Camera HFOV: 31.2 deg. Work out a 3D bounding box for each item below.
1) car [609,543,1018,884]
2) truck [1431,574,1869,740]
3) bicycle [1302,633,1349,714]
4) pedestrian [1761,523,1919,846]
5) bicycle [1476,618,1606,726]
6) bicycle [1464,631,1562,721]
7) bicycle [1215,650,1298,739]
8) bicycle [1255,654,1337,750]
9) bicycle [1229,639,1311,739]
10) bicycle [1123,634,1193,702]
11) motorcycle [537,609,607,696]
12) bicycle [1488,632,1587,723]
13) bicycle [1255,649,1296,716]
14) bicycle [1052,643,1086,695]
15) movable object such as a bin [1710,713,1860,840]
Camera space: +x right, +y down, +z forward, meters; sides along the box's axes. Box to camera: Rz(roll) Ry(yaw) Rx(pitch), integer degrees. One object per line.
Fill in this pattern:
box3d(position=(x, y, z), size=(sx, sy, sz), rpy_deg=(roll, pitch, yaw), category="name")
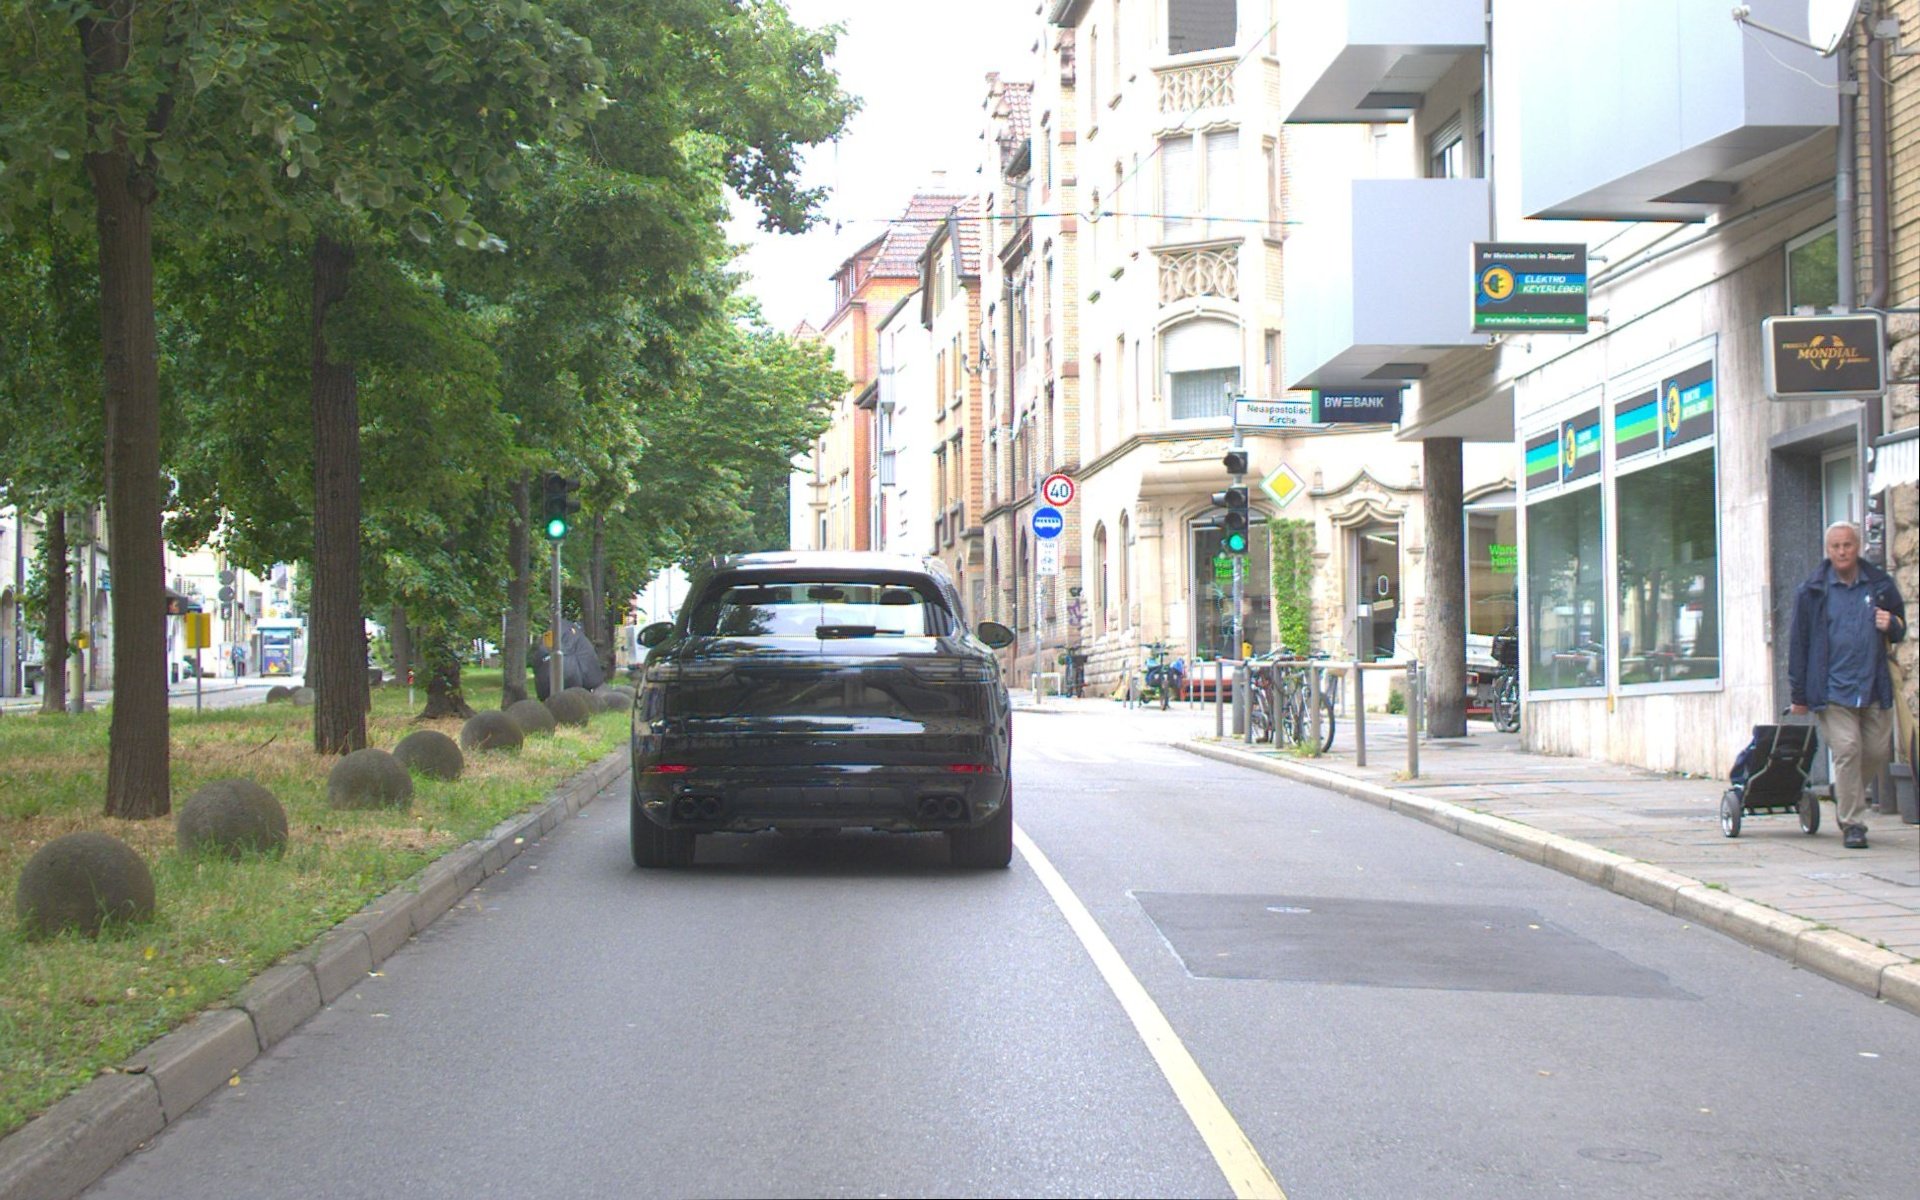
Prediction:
box3d(position=(-0.780, 0.546, 18.936), size=(1.993, 1.660, 4.000), rpy_deg=(1, 0, -2), category="car")
box3d(position=(9.790, 0.812, 48.969), size=(5.557, 2.126, 2.382), rpy_deg=(2, -1, -12), category="truck")
box3d(position=(6.066, 1.209, 57.110), size=(0.446, 1.157, 1.835), rpy_deg=(-1, 4, -4), category="bicycle")
box3d(position=(4.860, 0.454, 18.653), size=(0.751, 1.687, 0.858), rpy_deg=(-2, -1, -1), category="pedestrian")
box3d(position=(6.574, 0.816, 38.953), size=(0.318, 1.194, 1.761), rpy_deg=(1, -2, -34), category="bicycle")
box3d(position=(6.464, 0.887, 40.250), size=(0.318, 1.040, 1.761), rpy_deg=(1, -1, -20), category="bicycle")
box3d(position=(3.158, 1.004, 36.728), size=(0.286, 0.928, 1.761), rpy_deg=(1, -1, -15), category="bicycle")
box3d(position=(3.328, 1.006, 34.172), size=(0.569, 0.928, 1.775), rpy_deg=(0, -1, -2), category="bicycle")
box3d(position=(3.327, 0.950, 37.052), size=(0.286, 1.051, 1.761), rpy_deg=(1, -1, -15), category="bicycle")
box3d(position=(3.387, 1.166, 59.104), size=(0.879, 1.125, 2.979), rpy_deg=(0, -1, -3), category="bicycle")
box3d(position=(-6.728, 0.918, 59.681), size=(1.019, 1.441, 2.247), rpy_deg=(-2, -1, -2), category="motorcycle")
box3d(position=(6.772, 0.904, 40.359), size=(0.318, 1.040, 1.761), rpy_deg=(1, -1, -20), category="bicycle")
box3d(position=(5.264, 1.369, 57.420), size=(0.349, 1.055, 1.834), rpy_deg=(3, 0, -4), category="bicycle")
box3d(position=(2.220, 1.412, 70.258), size=(0.446, 1.033, 2.248), rpy_deg=(-1, -2, -4), category="bicycle")
box3d(position=(4.672, 0.994, 19.504), size=(0.607, 0.666, 0.858), rpy_deg=(-2, -1, -1), category="movable object such as a bin")
